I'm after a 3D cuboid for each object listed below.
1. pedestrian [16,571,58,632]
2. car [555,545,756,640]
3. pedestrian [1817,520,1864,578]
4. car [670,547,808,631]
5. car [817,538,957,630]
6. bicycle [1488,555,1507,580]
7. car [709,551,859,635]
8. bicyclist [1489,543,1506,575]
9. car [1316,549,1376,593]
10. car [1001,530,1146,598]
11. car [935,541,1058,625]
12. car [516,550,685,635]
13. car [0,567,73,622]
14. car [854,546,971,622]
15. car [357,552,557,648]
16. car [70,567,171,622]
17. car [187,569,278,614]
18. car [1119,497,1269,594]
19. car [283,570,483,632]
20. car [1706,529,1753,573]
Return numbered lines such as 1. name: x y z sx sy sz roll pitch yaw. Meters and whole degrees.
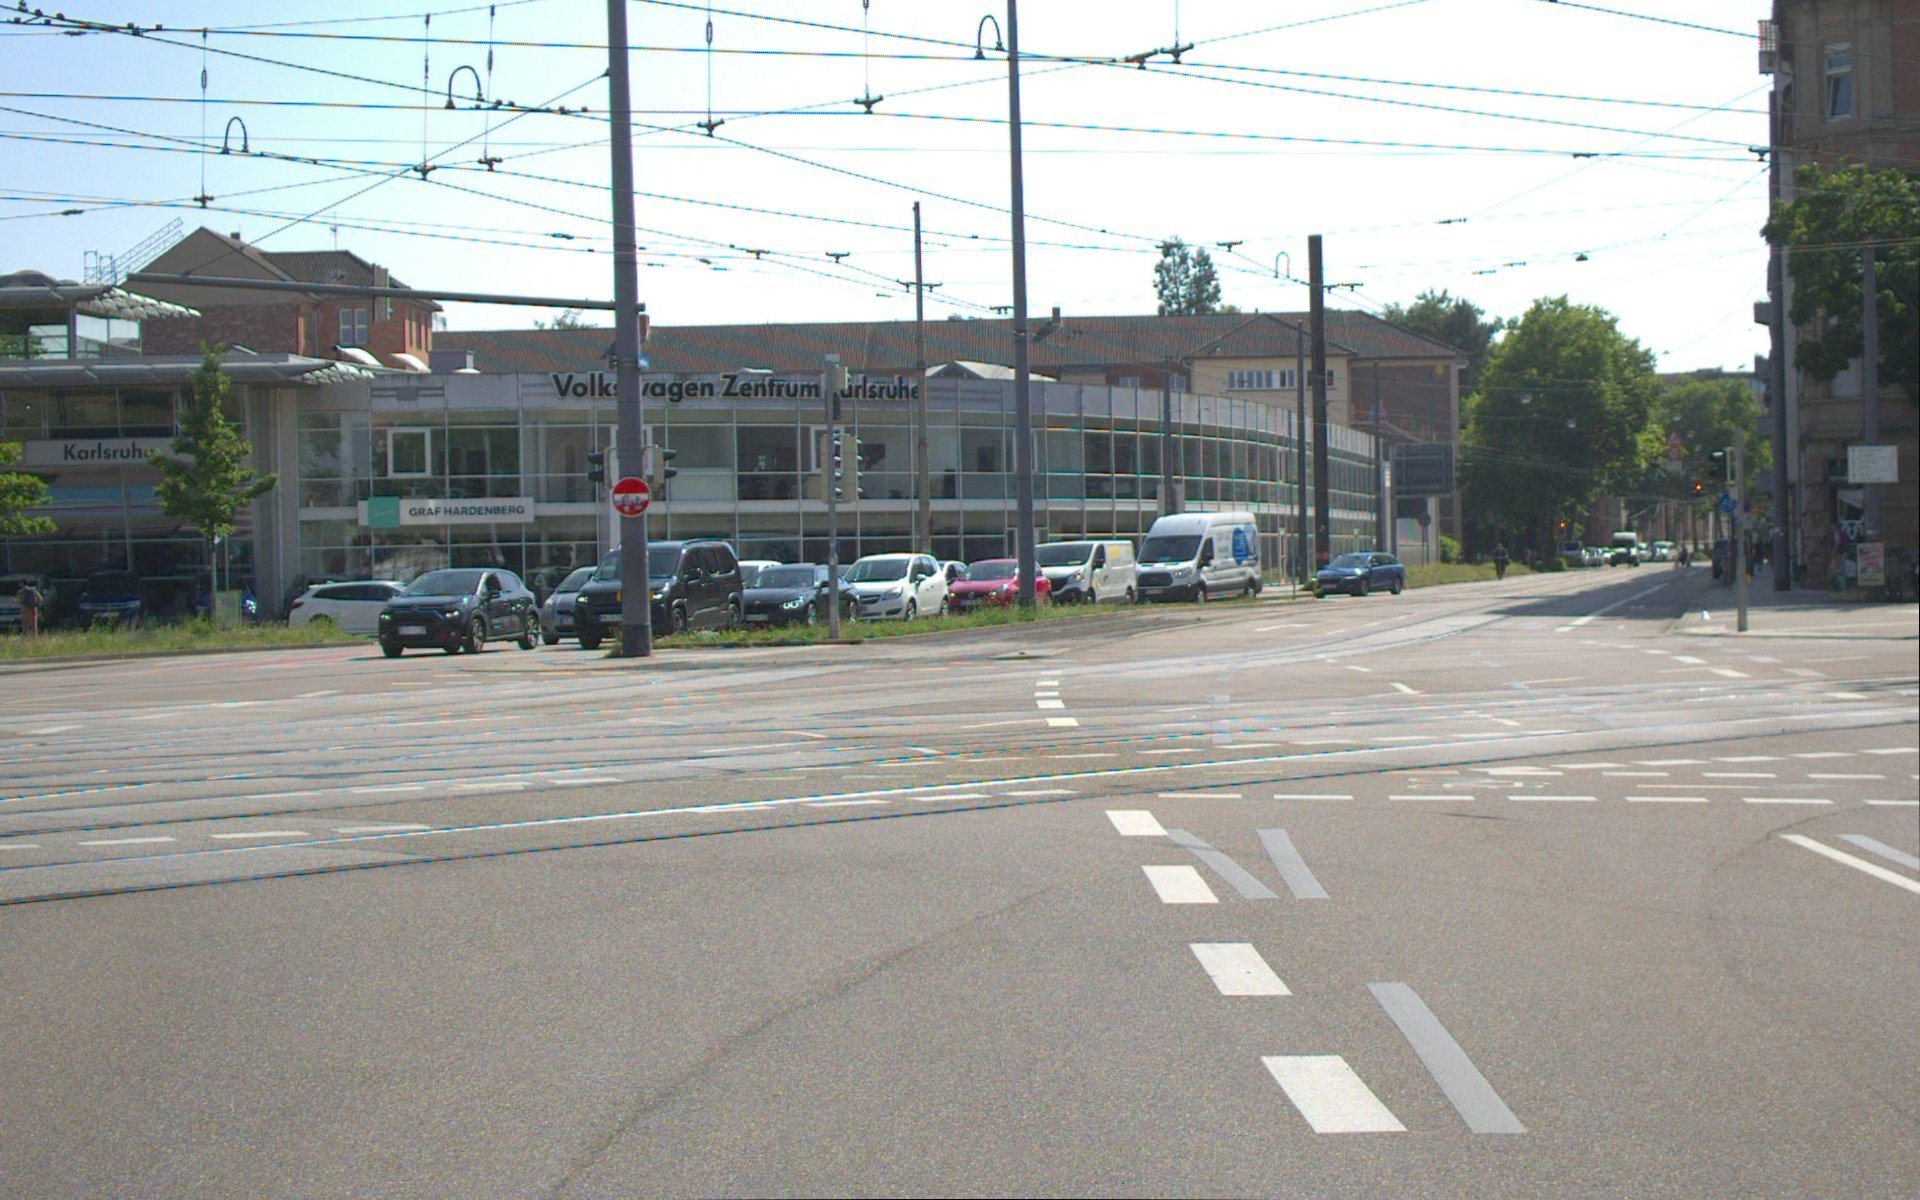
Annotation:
1. pedestrian: -24.038 0.045 89.538 0.953 1.574 0.534 1 0 -4
2. car: -5.329 -0.161 60.846 1.962 1.582 4.713 -1 1 16
3. pedestrian: 22.246 -1.288 86.866 0.710 1.428 0.886 -2 1 -34
4. car: -4.750 -0.220 74.441 1.652 1.733 4.197 -1 -1 16
5. car: -1.558 -0.320 74.814 1.895 1.910 4.197 -1 -1 16
6. bicycle: 26.622 -1.610 170.192 0.752 1.190 2.837 1 0 12
7. car: -3.415 -0.122 67.491 1.895 1.582 3.997 -1 -1 13
8. bicyclist: 26.630 -2.011 170.214 0.752 1.562 1.086 1 0 13
9. car: 12.821 -0.940 114.048 1.385 1.409 3.010 1 0 18
10. car: 2.971 -0.943 88.951 2.187 1.675 5.024 -1 1 21
11. car: 0.901 -0.383 81.753 1.895 1.910 4.197 -1 -1 16
12. car: -6.977 -0.133 67.081 1.895 1.582 3.997 -1 -1 16
13. car: -26.292 -0.163 96.369 1.993 1.481 4.001 -1 1 -3
14. car: -1.159 -0.387 86.285 1.808 1.840 4.197 -1 -1 16
15. car: -8.763 0.015 60.241 1.893 1.582 4.207 -1 -1 16
16. car: -23.508 -0.159 96.386 1.993 1.481 4.000 1 0 -3
17. car: -20.308 -0.232 96.049 1.830 1.191 4.000 1 0 -3
18. car: 6.585 -1.495 96.165 2.211 2.567 5.867 1 0 25
19. car: -14.015 0.019 83.541 4.587 1.431 1.443 1 0 13
20. car: 36.392 -2.336 162.499 2.110 2.007 3.998 -1 1 13
